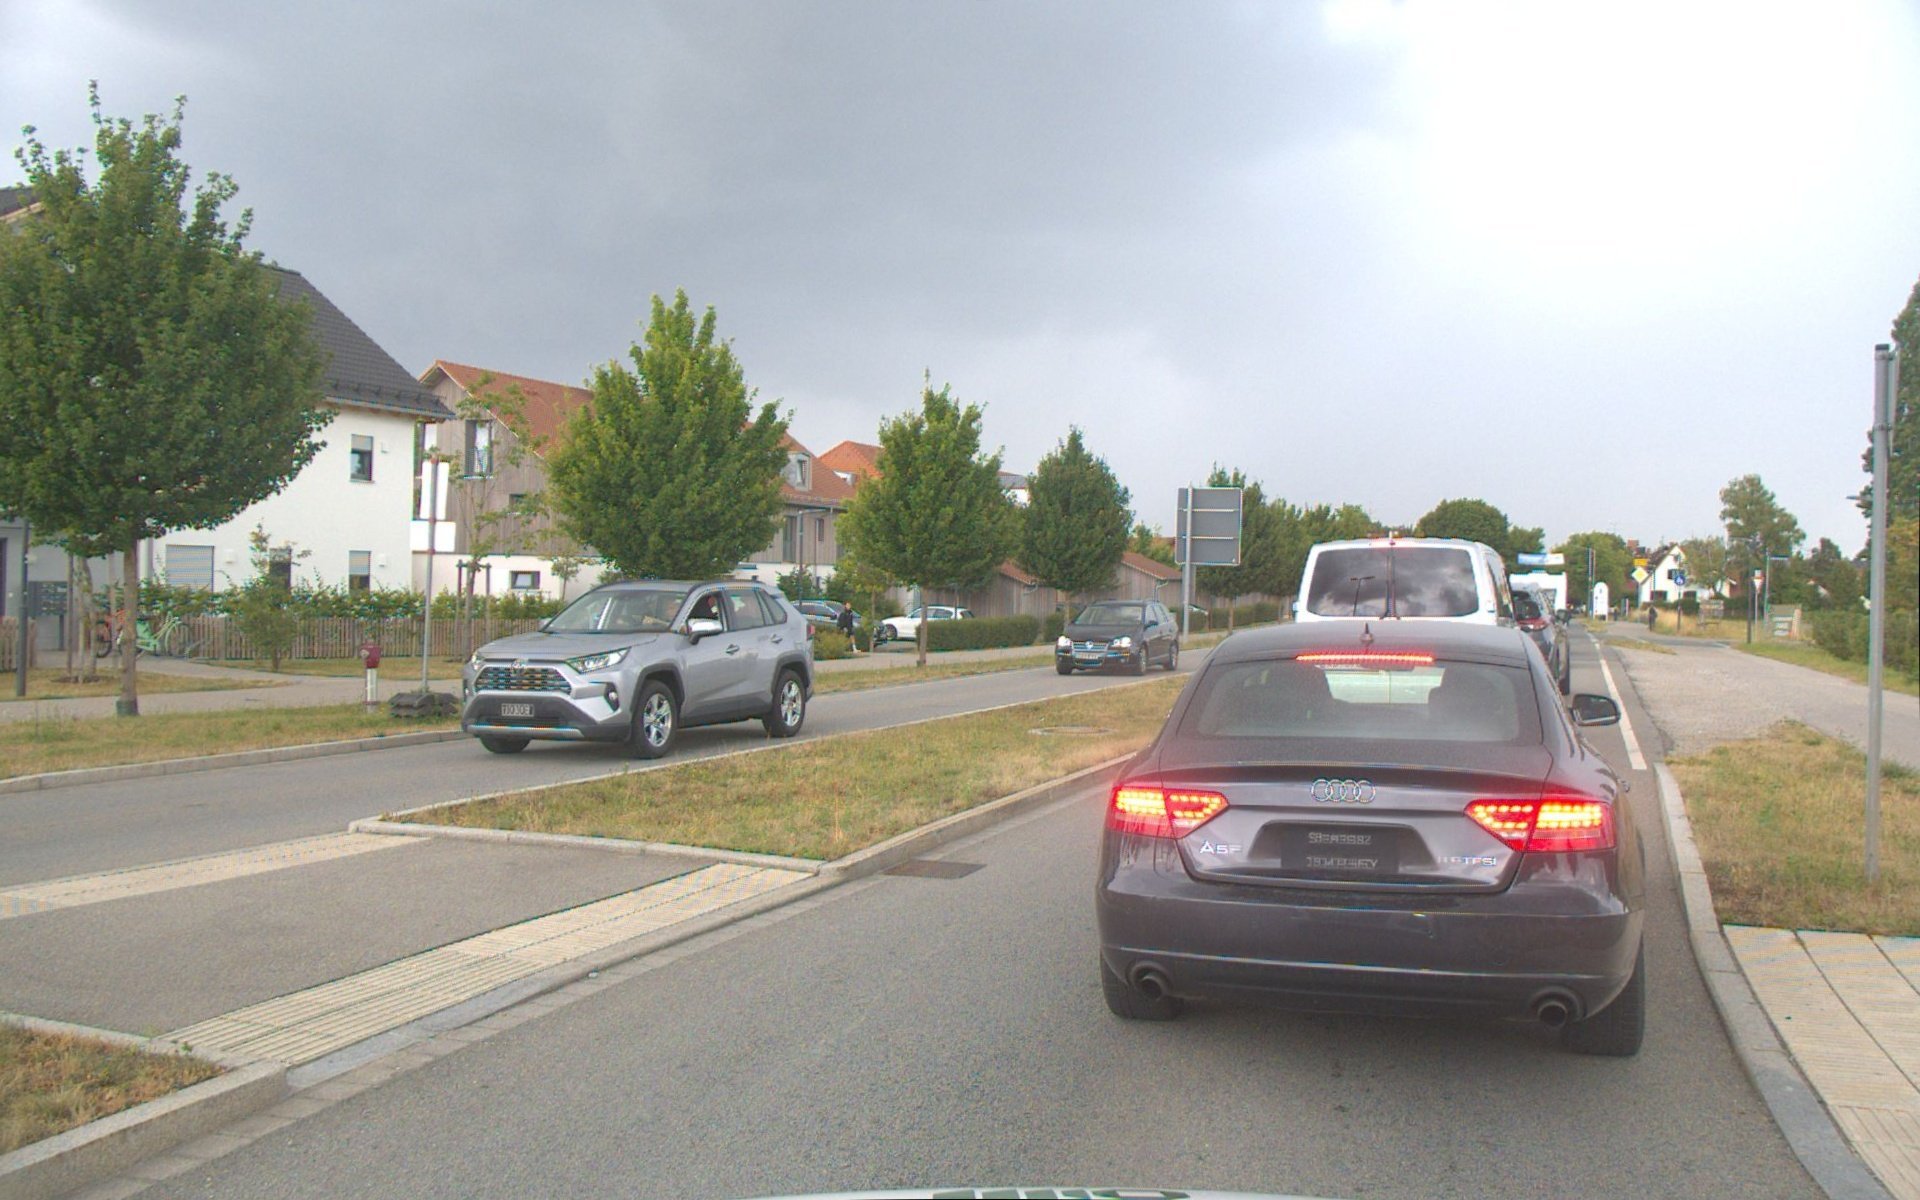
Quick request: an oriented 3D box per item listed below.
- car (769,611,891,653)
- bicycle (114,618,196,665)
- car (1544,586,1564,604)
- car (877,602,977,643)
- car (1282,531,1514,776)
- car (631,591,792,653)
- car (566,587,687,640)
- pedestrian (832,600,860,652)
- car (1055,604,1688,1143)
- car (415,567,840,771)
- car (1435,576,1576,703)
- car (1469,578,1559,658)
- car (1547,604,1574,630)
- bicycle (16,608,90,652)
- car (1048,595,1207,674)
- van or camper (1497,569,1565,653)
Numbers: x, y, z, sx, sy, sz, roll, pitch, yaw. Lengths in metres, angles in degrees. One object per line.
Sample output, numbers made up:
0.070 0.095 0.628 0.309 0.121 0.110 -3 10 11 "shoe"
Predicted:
-4.533 1.100 57.810 3.833 1.338 1.843 1 0 19 "car"
-15.761 0.798 32.413 0.360 0.858 1.546 4 1 22 "bicycle"
76.404 -0.695 212.721 1.954 2.250 3.997 1 1 25 "car"
-1.318 0.880 66.800 3.651 1.508 1.687 2 1 18 "car"
4.221 0.419 15.627 1.828 1.968 4.002 1 0 18 "car"
-7.510 0.625 49.982 4.440 1.709 1.999 2 0 24 "car"
-11.932 0.487 59.381 1.954 1.803 4.461 1 0 25 "car"
-3.518 0.806 51.164 0.644 1.586 0.583 1 0 23 "pedestrian"
1.760 0.737 6.668 1.746 1.416 4.134 0 0 18 "car"
-3.109 0.602 16.603 1.953 1.733 4.634 -1 0 22 "car"
7.876 0.522 23.684 1.740 1.646 4.000 -1 0 21 "car"
12.247 0.379 36.424 1.740 1.646 4.000 0 0 20 "car"
40.187 1.109 110.717 1.580 1.659 3.616 1 0 21 "car"
-18.361 0.602 33.503 0.360 0.858 1.337 4 1 22 "bicycle"
3.459 0.649 33.370 1.719 1.441 4.451 1 1 26 "car"
24.719 0.484 71.439 2.570 3.381 6.822 1 0 20 "van or camper"
